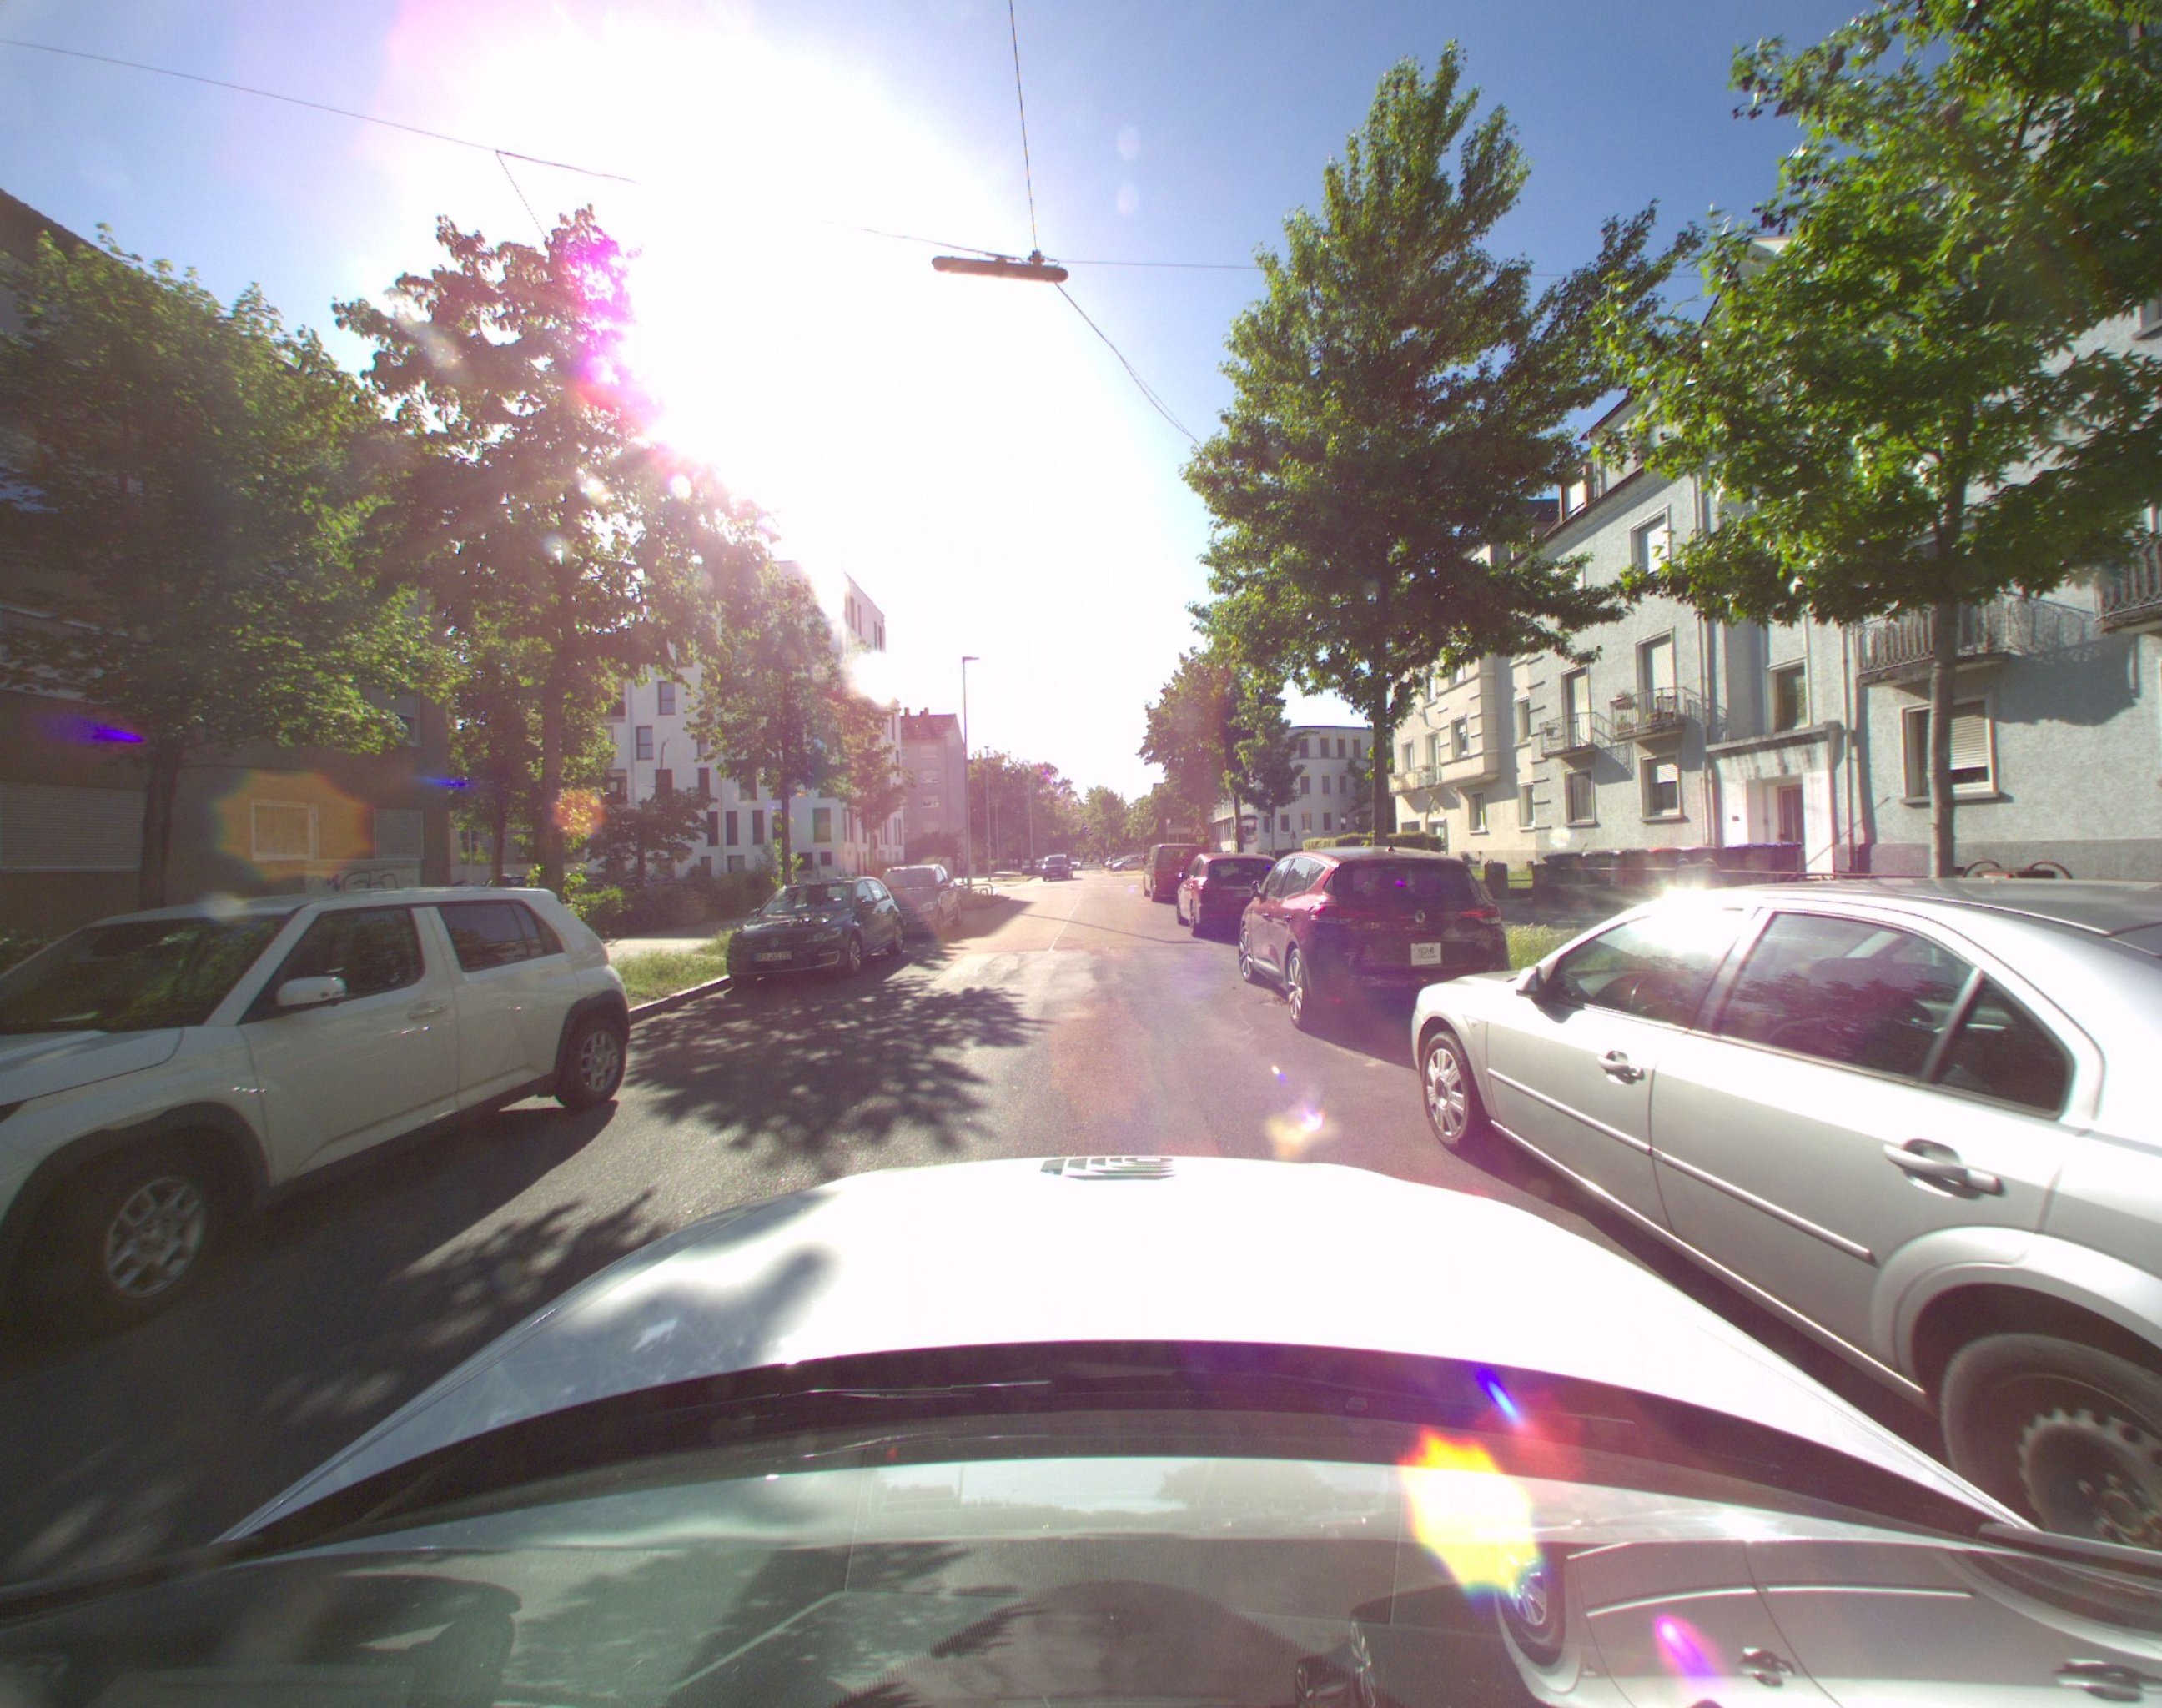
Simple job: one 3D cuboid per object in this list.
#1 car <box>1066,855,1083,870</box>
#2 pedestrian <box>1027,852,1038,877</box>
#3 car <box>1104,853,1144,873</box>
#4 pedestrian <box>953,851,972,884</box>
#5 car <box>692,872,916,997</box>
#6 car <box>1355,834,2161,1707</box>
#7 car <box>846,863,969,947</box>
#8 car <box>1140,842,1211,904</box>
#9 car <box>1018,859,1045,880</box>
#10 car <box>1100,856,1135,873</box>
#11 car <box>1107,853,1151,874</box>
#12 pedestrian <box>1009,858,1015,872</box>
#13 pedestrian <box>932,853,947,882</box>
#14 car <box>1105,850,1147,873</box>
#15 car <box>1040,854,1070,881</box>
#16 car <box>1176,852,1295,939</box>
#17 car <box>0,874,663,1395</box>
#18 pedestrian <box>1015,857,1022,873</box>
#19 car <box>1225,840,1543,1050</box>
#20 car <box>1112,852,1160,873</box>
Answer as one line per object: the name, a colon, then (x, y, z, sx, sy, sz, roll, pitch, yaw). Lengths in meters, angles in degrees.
car: (-0.734, 0.978, 93.380, 1.888, 1.560, 4.000, -3, 0, 1)
pedestrian: (-3.755, 0.799, 62.528, 0.715, 1.900, 0.834, -2, 0, -9)
car: (4.419, 0.940, 84.190, 3.976, 1.830, 1.999, -3, 0, -2)
pedestrian: (-7.424, 0.839, 51.017, 0.854, 2.013, 0.984, -3, 0, 9)
car: (-4.147, 1.123, 13.050, 1.987, 1.453, 4.262, -5, 0, 0)
car: (2.692, 0.733, 2.853, 1.891, 1.474, 4.698, 1, -1, 0)
car: (-3.902, 1.085, 19.120, 1.833, 1.595, 4.262, -4, 0, 0)
car: (3.283, 0.636, 29.304, 1.964, 1.949, 4.985, -2, 0, 0)
car: (-4.431, 1.381, 73.265, 1.986, 1.671, 4.001, -3, 0, 1)
car: (4.469, 1.281, 100.292, 3.982, 1.882, 1.996, -2, -1, -6)
car: (4.494, 0.881, 76.862, 3.976, 1.806, 1.888, -3, 0, -2)
pedestrian: (-8.939, 1.431, 105.849, 0.761, 1.900, 0.817, -2, 0, -5)
pedestrian: (-10.041, 0.980, 57.847, 0.856, 2.013, 0.981, -2, 0, -1)
car: (4.381, 0.736, 79.693, 3.976, 2.013, 1.999, -3, 0, -2)
car: (-1.678, 0.846, 52.909, 1.778, 1.609, 3.997, -3, 0, -2)
car: (3.083, 0.768, 17.075, 1.827, 1.600, 4.160, 0, 0, 2)
car: (-4.192, 0.978, 4.338, 1.704, 1.544, 3.931, -4, -1, 2)
pedestrian: (-8.429, 1.452, 109.316, 0.858, 2.013, 0.979, -2, 0, -6)
car: (2.856, 0.746, 8.795, 1.900, 1.699, 4.314, 0, 0, 1)
car: (4.822, 0.747, 71.640, 3.978, 1.587, 1.725, -3, 0, -3)
